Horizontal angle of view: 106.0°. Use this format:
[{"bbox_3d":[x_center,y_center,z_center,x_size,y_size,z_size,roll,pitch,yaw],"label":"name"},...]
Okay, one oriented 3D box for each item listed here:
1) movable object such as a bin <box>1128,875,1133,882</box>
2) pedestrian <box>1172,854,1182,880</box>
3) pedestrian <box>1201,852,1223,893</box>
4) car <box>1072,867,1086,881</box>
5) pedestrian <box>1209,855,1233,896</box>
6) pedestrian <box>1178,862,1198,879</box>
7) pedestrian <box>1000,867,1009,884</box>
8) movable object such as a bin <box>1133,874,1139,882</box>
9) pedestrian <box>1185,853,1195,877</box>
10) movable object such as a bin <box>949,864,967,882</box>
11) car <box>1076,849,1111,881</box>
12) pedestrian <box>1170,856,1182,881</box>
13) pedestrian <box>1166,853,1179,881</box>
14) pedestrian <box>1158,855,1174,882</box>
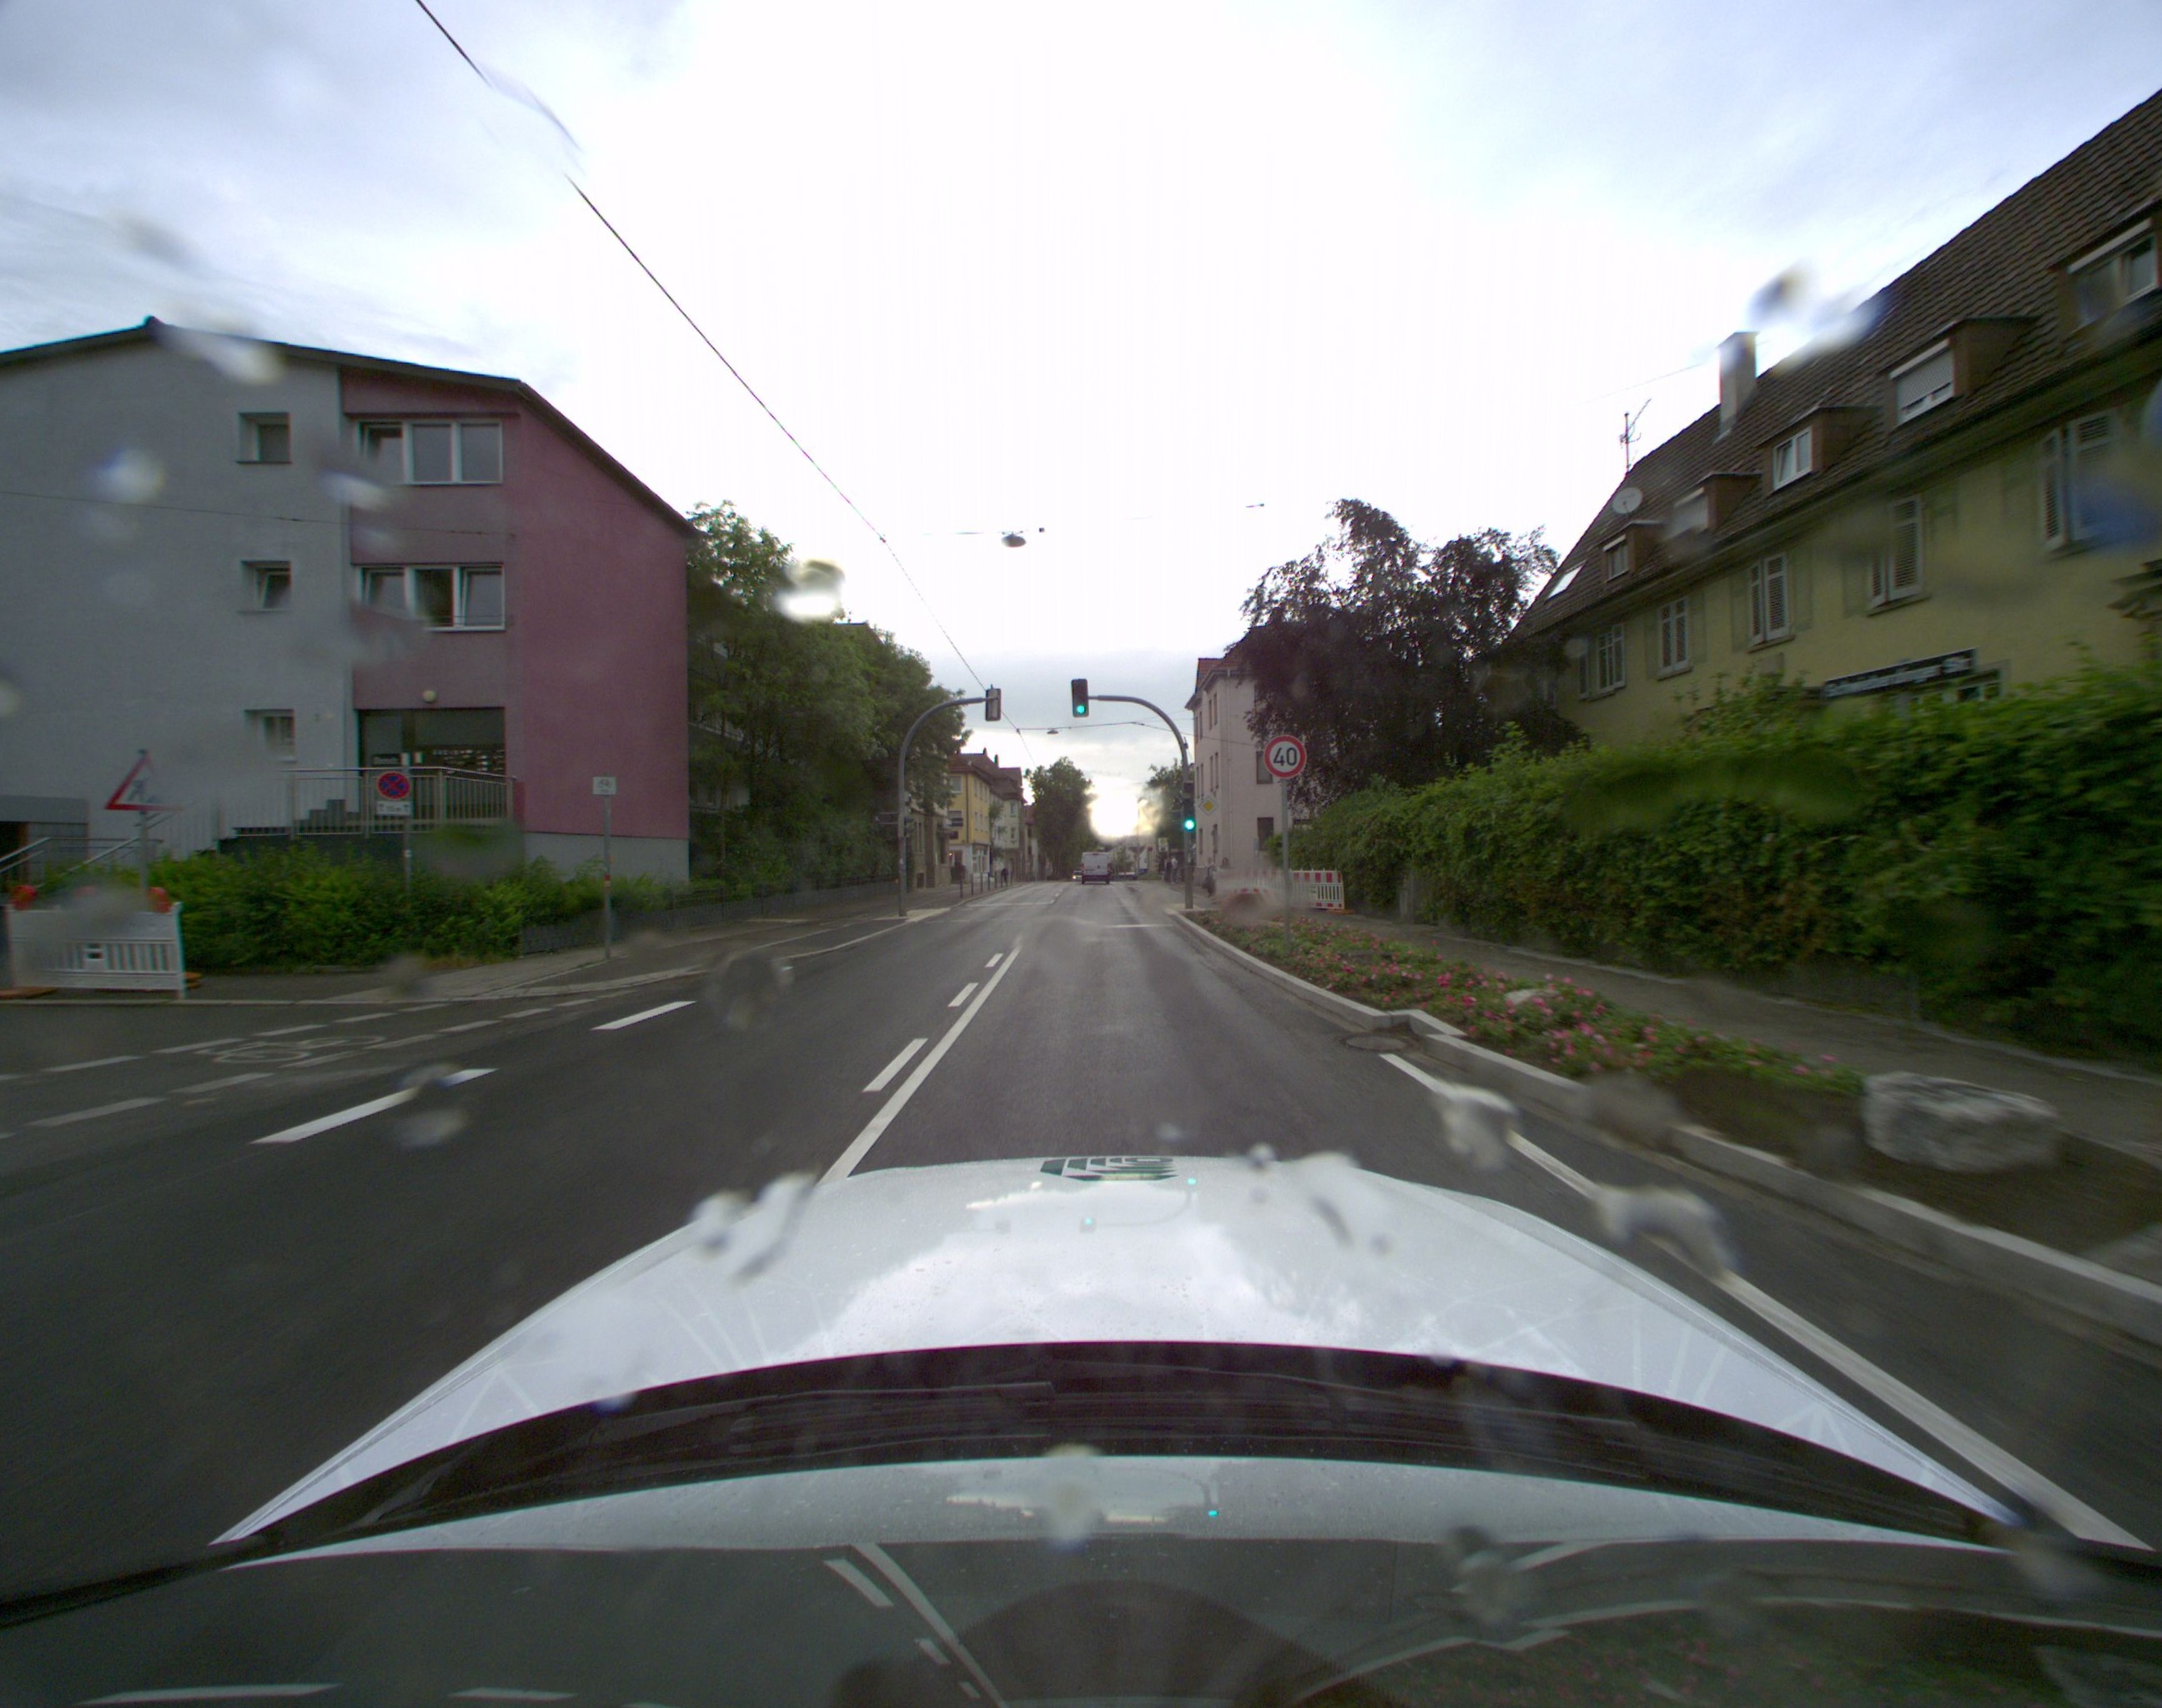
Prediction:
[{"bbox_3d":[7.261,3.575,119.225,0.617,0.936,0.686,-4,-2,1],"label":"movable object such as a bin"},{"bbox_3d":[6.584,0.883,55.566,0.442,1.708,0.560,-4,-1,21],"label":"pedestrian"},{"bbox_3d":[5.341,0.757,33.307,0.780,1.642,1.224,0,-1,5],"label":"pedestrian"},{"bbox_3d":[-0.230,2.886,114.781,1.875,1.870,4.453,-2,-2,1],"label":"car"},{"bbox_3d":[5.498,0.828,31.878,0.869,1.561,1.052,0,-1,12],"label":"pedestrian"},{"bbox_3d":[8.268,1.249,62.760,1.353,1.273,0.740,-2,-1,-5],"label":"pedestrian"},{"bbox_3d":[-7.813,2.184,82.914,0.813,1.679,0.992,0,-2,-2],"label":"pedestrian"},{"bbox_3d":[8.045,3.494,119.383,0.692,1.082,0.779,-4,-2,1],"label":"movable object such as a bin"},{"bbox_3d":[8.574,0.841,64.199,0.642,1.831,0.744,-3,-1,15],"label":"pedestrian"},{"bbox_3d":[-9.839,1.522,65.161,1.297,1.402,0.983,0,-1,0],"label":"movable object such as a bin"},{"bbox_3d":[0.844,0.803,59.535,2.340,2.160,4.774,-1,-1,-1],"label":"car"},{"bbox_3d":[6.799,1.022,58.509,0.659,1.741,0.828,-2,-1,-5],"label":"pedestrian"},{"bbox_3d":[6.184,0.875,54.884,0.481,1.875,0.637,-4,-2,37],"label":"pedestrian"},{"bbox_3d":[5.661,0.967,54.391,0.639,1.710,0.741,-3,-2,-33],"label":"pedestrian"}]
